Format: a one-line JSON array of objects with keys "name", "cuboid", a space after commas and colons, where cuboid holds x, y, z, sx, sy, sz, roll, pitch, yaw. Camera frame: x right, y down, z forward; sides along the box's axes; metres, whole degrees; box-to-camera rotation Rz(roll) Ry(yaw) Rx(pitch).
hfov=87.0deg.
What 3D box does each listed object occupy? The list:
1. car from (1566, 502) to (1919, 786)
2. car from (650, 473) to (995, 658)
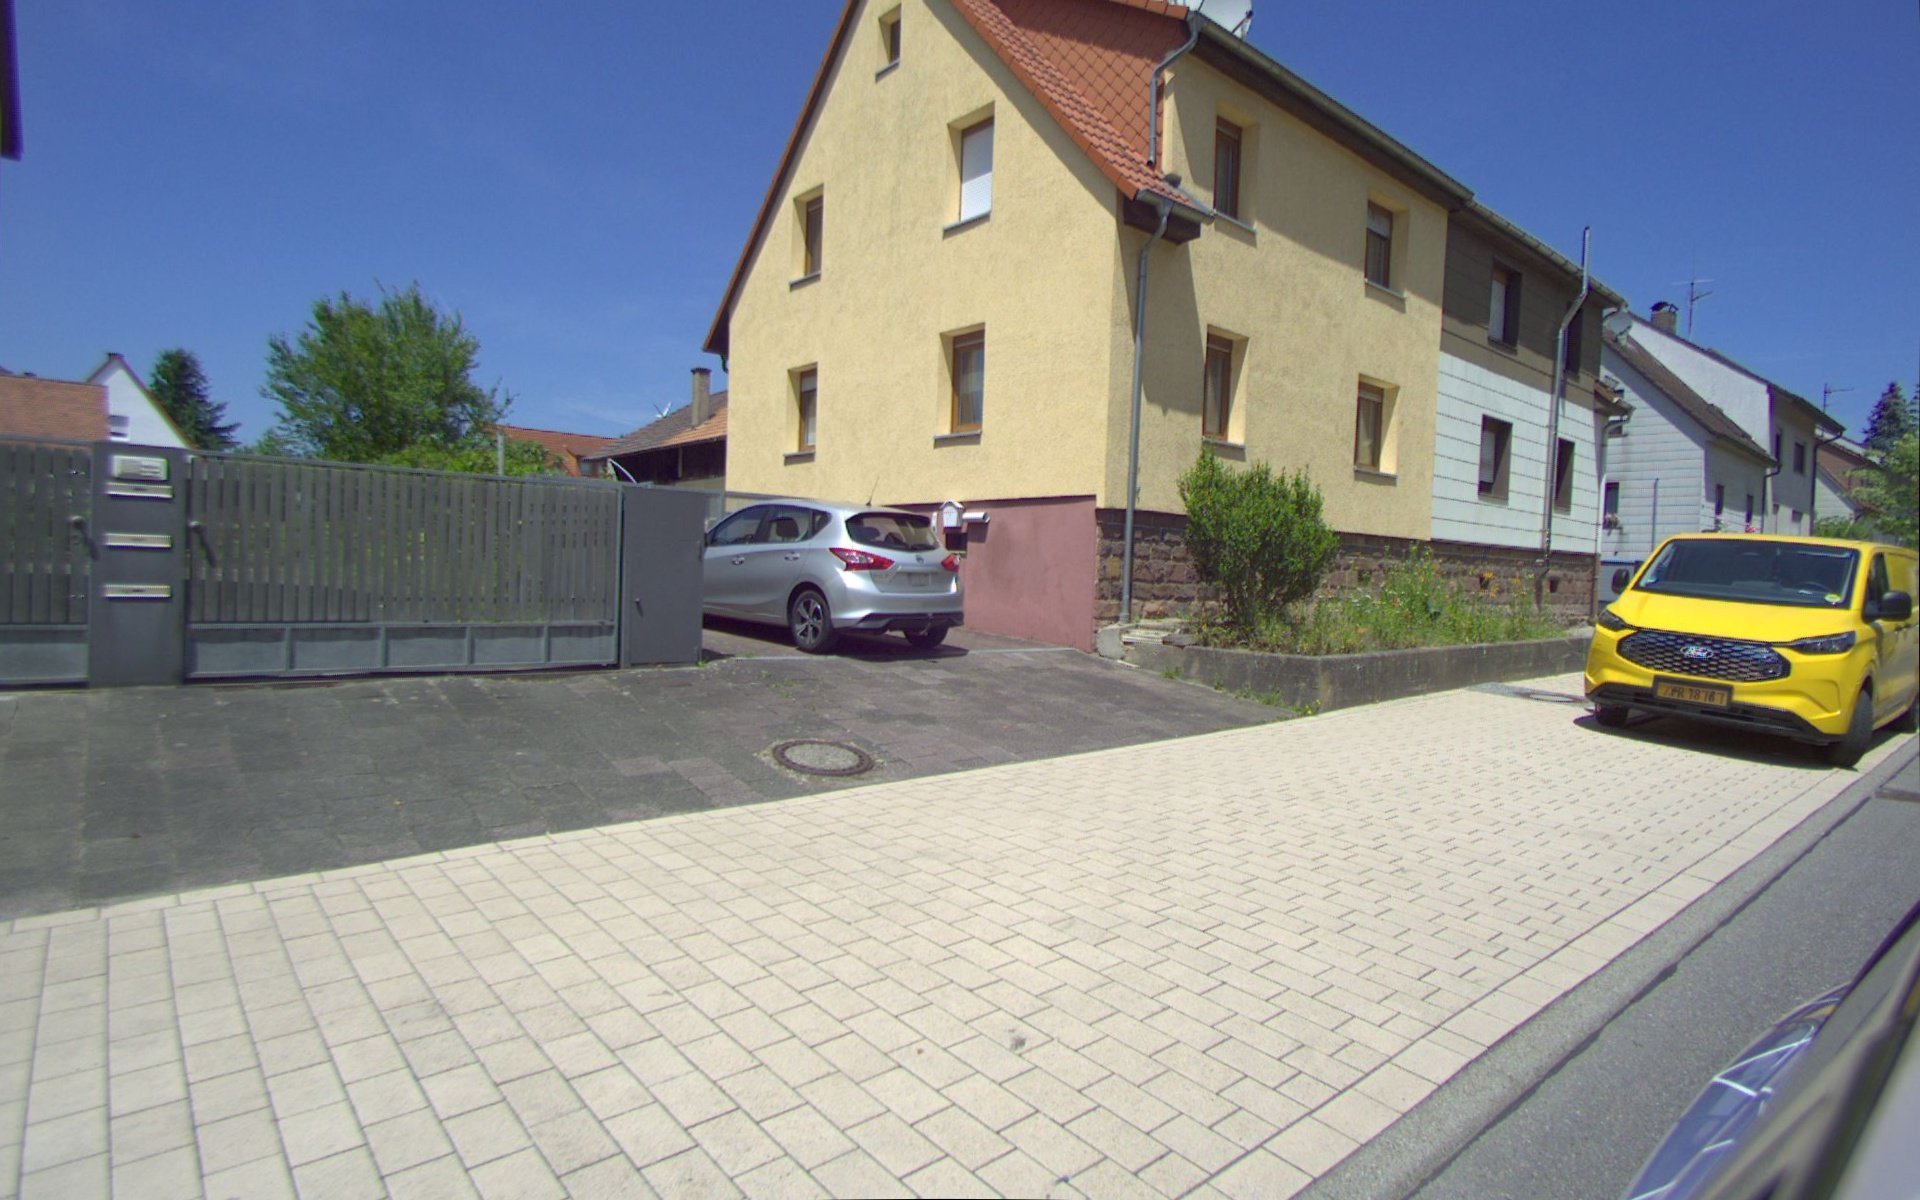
[{"name": "car", "cuboid": [8.316, 0.194, 10.153, 5.528, 2.037, 2.194, -2, 7, -42]}, {"name": "car", "cuboid": [-1.691, -0.494, 11.360, 1.843, 1.696, 3.994, 0, 5, -43]}]
